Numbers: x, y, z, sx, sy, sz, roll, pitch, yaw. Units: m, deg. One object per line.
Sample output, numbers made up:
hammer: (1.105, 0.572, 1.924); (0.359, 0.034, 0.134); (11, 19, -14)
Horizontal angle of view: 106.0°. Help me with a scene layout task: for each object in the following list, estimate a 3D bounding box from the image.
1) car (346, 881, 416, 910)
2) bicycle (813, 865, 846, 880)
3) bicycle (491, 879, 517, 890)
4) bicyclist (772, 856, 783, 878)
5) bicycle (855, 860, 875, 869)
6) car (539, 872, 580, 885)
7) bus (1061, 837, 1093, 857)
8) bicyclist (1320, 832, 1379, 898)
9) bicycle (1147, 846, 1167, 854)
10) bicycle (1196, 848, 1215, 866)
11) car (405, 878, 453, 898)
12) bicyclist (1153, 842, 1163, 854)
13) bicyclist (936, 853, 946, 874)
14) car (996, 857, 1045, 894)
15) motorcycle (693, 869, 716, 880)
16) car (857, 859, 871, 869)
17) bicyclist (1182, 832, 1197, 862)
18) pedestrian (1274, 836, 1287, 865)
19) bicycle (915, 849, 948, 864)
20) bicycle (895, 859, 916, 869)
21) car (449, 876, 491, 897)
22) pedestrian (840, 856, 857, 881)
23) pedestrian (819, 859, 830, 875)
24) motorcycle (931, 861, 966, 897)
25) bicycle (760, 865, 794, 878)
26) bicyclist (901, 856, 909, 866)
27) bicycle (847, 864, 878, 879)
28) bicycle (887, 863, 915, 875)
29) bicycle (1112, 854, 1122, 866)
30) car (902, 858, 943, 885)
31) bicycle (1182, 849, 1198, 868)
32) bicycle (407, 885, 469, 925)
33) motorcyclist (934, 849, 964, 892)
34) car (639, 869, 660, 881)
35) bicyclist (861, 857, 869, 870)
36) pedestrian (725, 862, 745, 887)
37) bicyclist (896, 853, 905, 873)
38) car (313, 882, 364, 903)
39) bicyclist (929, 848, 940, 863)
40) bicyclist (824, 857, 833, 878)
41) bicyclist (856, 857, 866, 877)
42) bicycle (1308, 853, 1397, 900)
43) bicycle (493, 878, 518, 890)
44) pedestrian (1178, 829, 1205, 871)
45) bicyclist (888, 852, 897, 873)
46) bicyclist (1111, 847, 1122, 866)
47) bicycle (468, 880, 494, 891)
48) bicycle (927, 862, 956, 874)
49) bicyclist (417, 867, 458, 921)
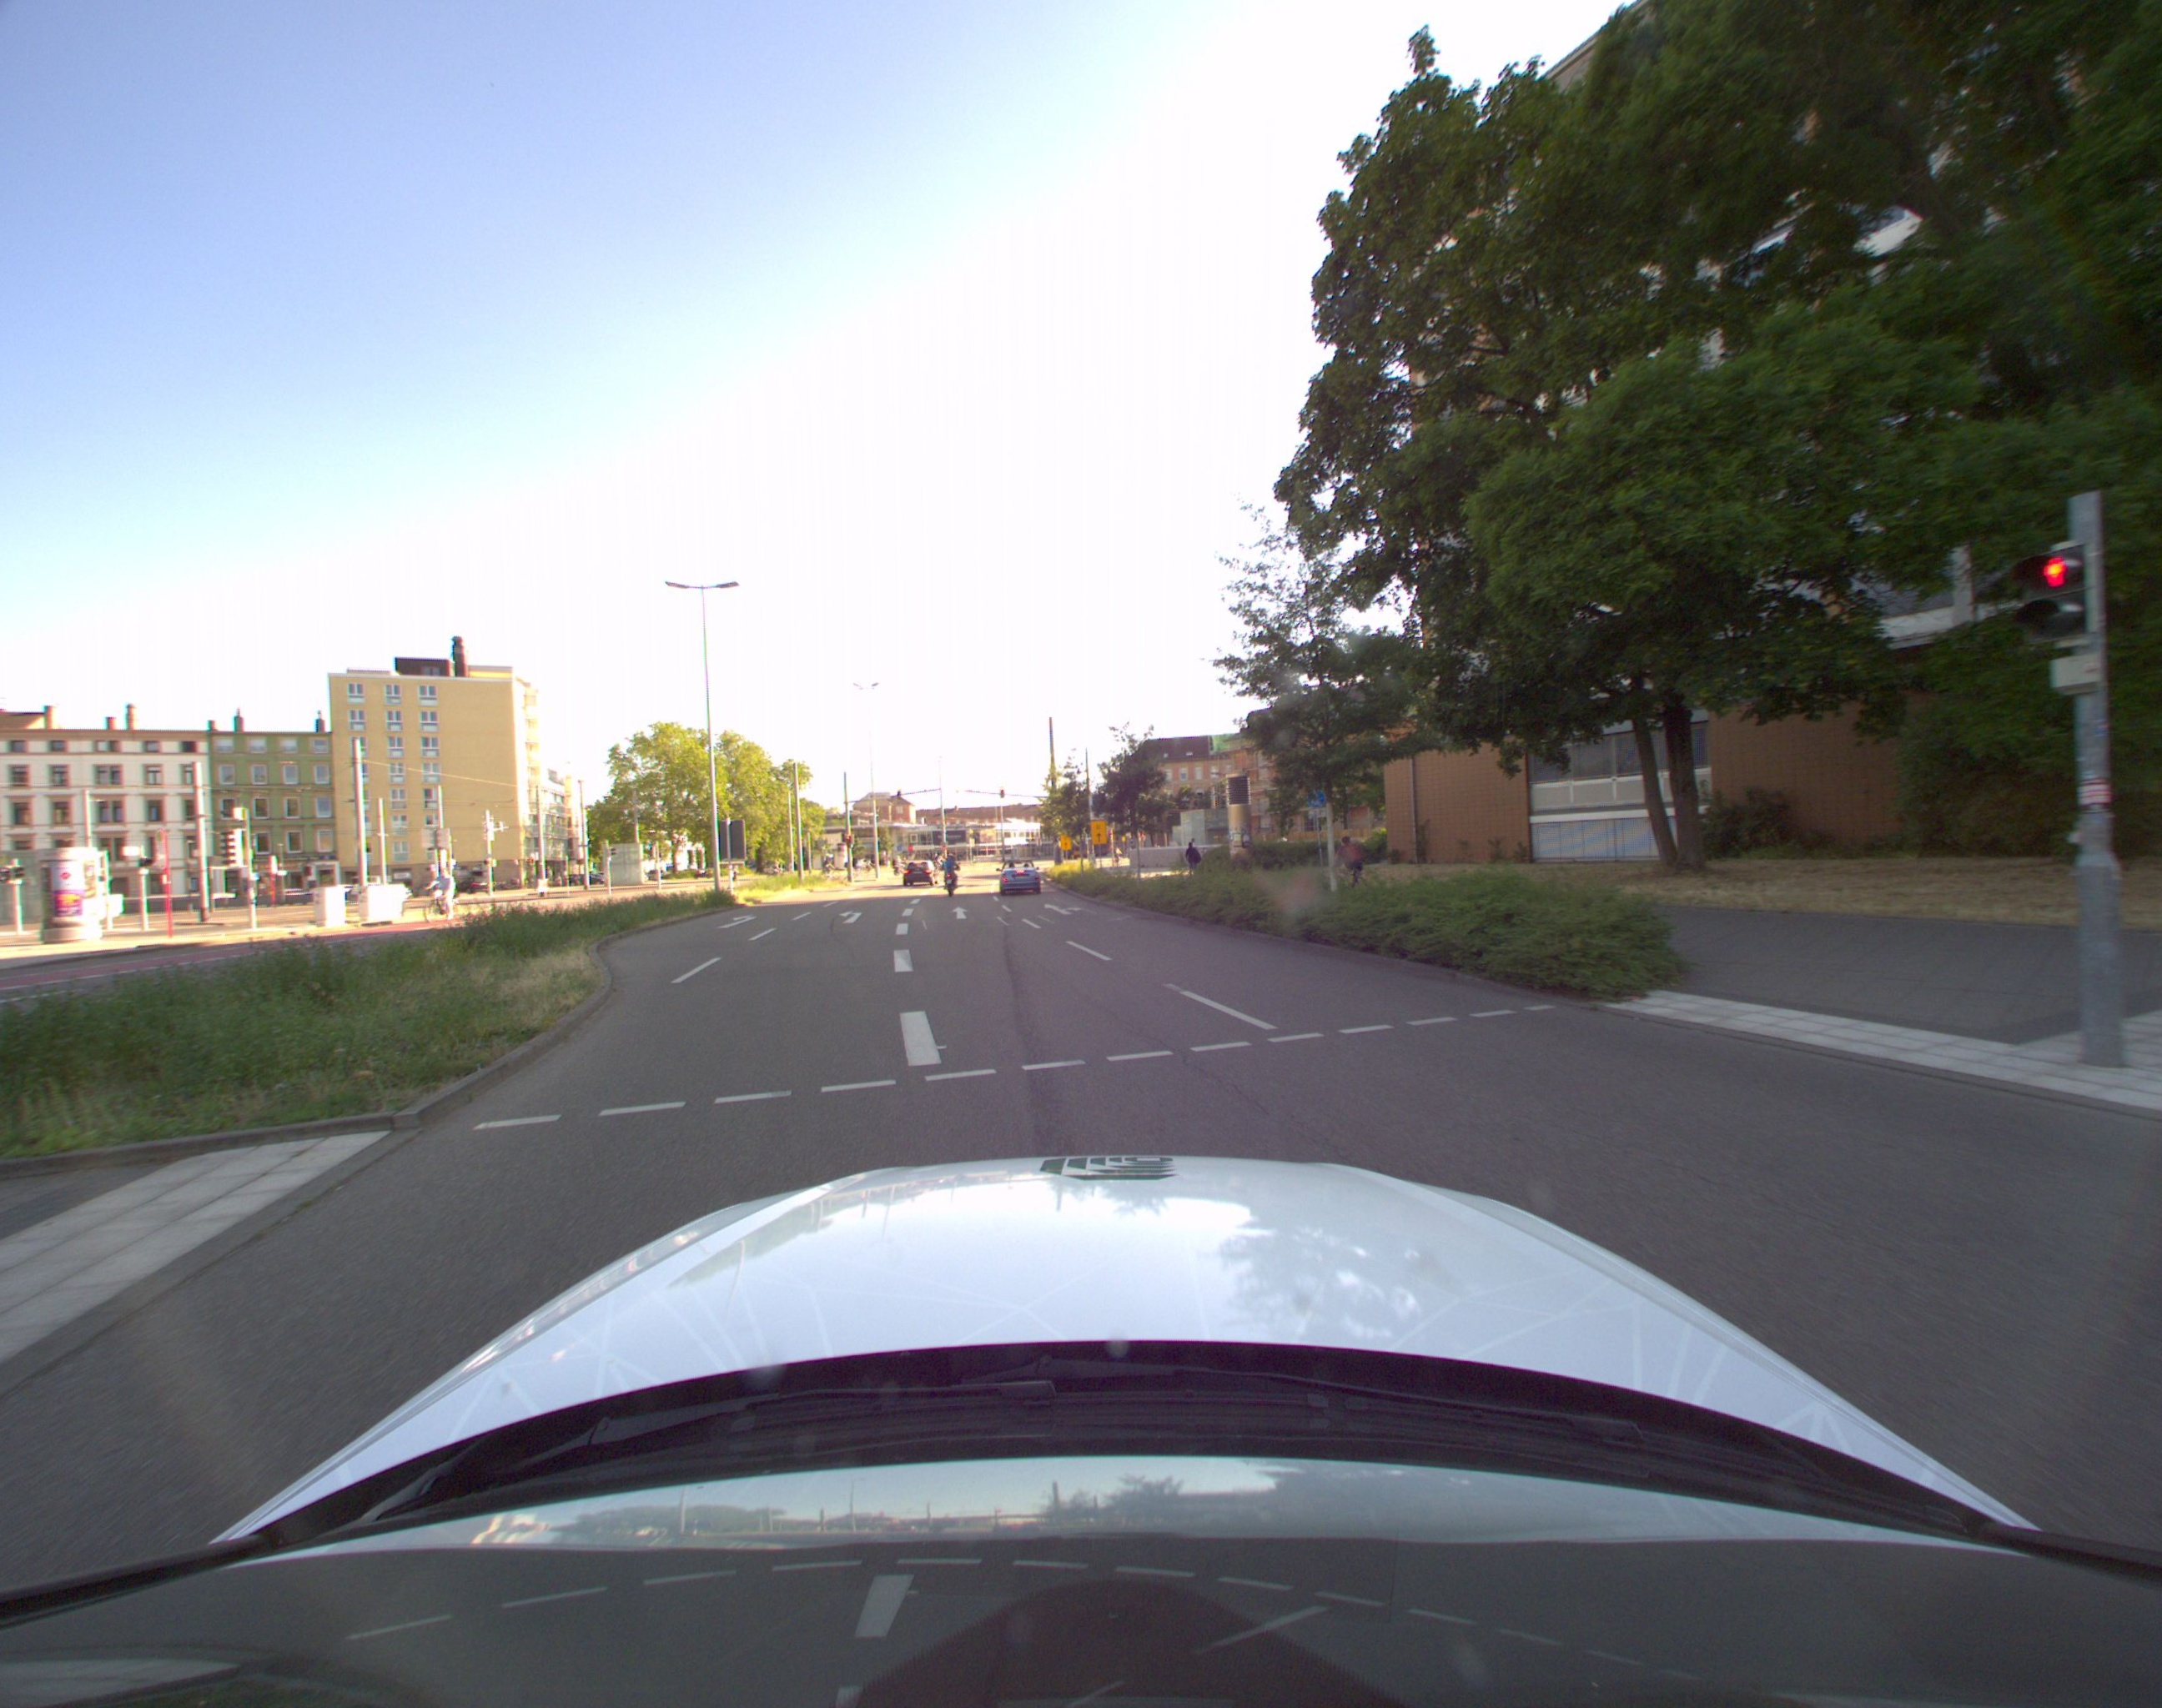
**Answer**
car: (-56.541, 3.336, 65.882); (3.751, 2.013, 1.985); (-2, 2, -24)
bicycle: (-20.923, 1.505, 67.804); (2.498, 1.133, 0.856); (-2, 2, -16)
bicycle: (-61.379, 3.253, 86.666); (2.051, 1.090, 0.771); (-3, 0, -24)
bicyclist: (-24.134, 0.996, 64.723); (0.749, 1.690, 0.853); (-2, 2, -25)
bicycle: (-26.578, 1.233, 100.313); (2.301, 0.979, 0.855); (-2, 2, -17)
car: (-63.908, 2.973, 99.806); (4.009, 1.422, 1.797); (-3, 0, -27)
bus: (-0.587, -1.199, 130.978); (2.335, 2.882, 9.624); (-1, 2, 17)
bicyclist: (5.875, 0.246, 17.878); (0.721, 1.384, 1.070); (-1, -1, -15)
bicycle: (10.102, -0.528, 107.943); (2.446, 1.003, 0.957); (-3, 0, -20)
bicycle: (7.717, 0.190, 50.402); (0.621, 1.039, 1.973); (-5, -1, 21)
car: (-62.030, 3.241, 77.490); (3.951, 1.748, 1.850); (-1, 2, 24)
bicyclist: (10.175, -0.762, 107.975); (0.926, 1.559, 0.957); (-3, 0, -19)
bicyclist: (-12.052, 0.797, 69.930); (0.651, 1.690, 0.855); (-2, 2, -19)
car: (-2.494, 0.857, 34.595); (1.795, 1.444, 3.976); (-1, 0, -1)
motorcycle: (-43.476, 2.357, 94.154); (2.290, 1.054, 0.683); (-2, 2, -17)
car: (-38.525, 1.694, 144.838); (1.993, 1.534, 3.987); (-2, 2, -10)
bicyclist: (6.675, -0.434, 50.177); (0.783, 1.786, 0.895); (-4, -1, 4)
pedestrian: (11.219, -0.190, 45.821); (0.718, 1.659, 0.721); (0, 0, 15)
bicycle: (-19.085, 0.307, 104.084); (4.004, 1.689, 1.131); (-2, 2, -23)
bicycle: (-21.389, 1.225, 99.231); (2.304, 0.959, 0.854); (-4, 3, -20)
car: (-59.261, 3.108, 78.999); (3.948, 1.857, 1.865); (0, 2, 32)
pedestrian: (-16.010, 0.999, 56.017); (0.834, 1.671, 0.690); (-3, 0, -43)
pedestrian: (-30.465, 1.574, 96.666); (0.988, 1.816, 0.918); (-2, 2, -6)
motorcycle: (-5.426, 0.988, 33.593); (1.093, 1.377, 2.650); (-2, 0, -3)
bicycle: (-24.156, 1.393, 64.712); (2.506, 0.874, 0.853); (-2, 2, -26)
bicyclist: (-21.447, 0.897, 99.202); (0.715, 1.143, 0.832); (-2, 2, -21)
bicycle: (-18.934, 1.517, 70.692); (2.503, 1.133, 0.854); (-2, 2, -22)
bicycle: (-15.698, 1.298, 70.958); (2.303, 0.905, 0.855); (-2, 2, -20)
bicycle: (3.195, 0.543, 72.030); (0.786, 1.039, 1.965); (-4, -1, 4)
car: (-9.100, 0.954, 46.984); (1.797, 1.444, 3.973); (-1, 0, -4)
bicycle: (6.738, 0.277, 50.219); (0.786, 1.039, 1.965); (-4, -1, 4)
bicycle: (-22.409, 1.748, 28.451); (0.741, 1.255, 2.542); (-2, -1, -16)
motorcyclist: (-5.442, 0.691, 33.634); (1.093, 1.721, 0.935); (-2, -1, -3)
car: (-56.408, 2.751, 106.502); (1.853, 1.452, 3.973); (-2, 0, -20)
bicyclist: (-26.621, 1.210, 100.303); (0.926, 1.559, 0.855); (-2, 2, -17)
pedestrian: (-23.494, 1.388, 55.301); (1.094, 1.606, 0.695); (-2, 2, -15)
bicyclist: (-15.744, 0.739, 70.935); (0.651, 1.690, 0.855); (-2, 2, -19)
car: (-68.377, 3.508, 74.984); (3.960, 1.719, 2.100); (-1, 2, 27)
bicyclist: (-18.783, 0.188, 104.206); (1.074, 1.900, 1.114); (-2, 2, -22)
bicyclist: (-21.011, 1.109, 67.773); (0.650, 1.690, 0.856); (-2, 2, -15)
bicyclist: (-19.076, 1.117, 70.630); (0.652, 1.690, 0.854); (-2, 2, -22)
bicycle: (5.891, 0.487, 17.836); (0.721, 0.952, 2.238); (-1, -1, -15)
bicycle: (-61.750, 3.238, 87.423); (2.051, 1.090, 0.771); (-3, 0, -24)
pedestrian: (4.630, -0.165, 34.196); (0.807, 1.658, 0.786); (-4, 1, -14)
bicyclist: (-16.374, 0.723, 70.723); (0.584, 1.777, 0.861); (-3, 0, -19)
bicyclist: (3.169, 0.204, 72.080); (0.786, 1.593, 0.948); (-4, -1, 4)
bicycle: (-63.797, 3.322, 86.542); (2.051, 1.090, 0.771); (-3, 0, -24)
bicycle: (-11.970, 1.198, 69.962); (2.303, 0.905, 0.855); (-2, 2, -20)
bicyclist: (-22.420, 1.378, 28.409); (0.741, 1.832, 1.008); (-2, -1, -16)
